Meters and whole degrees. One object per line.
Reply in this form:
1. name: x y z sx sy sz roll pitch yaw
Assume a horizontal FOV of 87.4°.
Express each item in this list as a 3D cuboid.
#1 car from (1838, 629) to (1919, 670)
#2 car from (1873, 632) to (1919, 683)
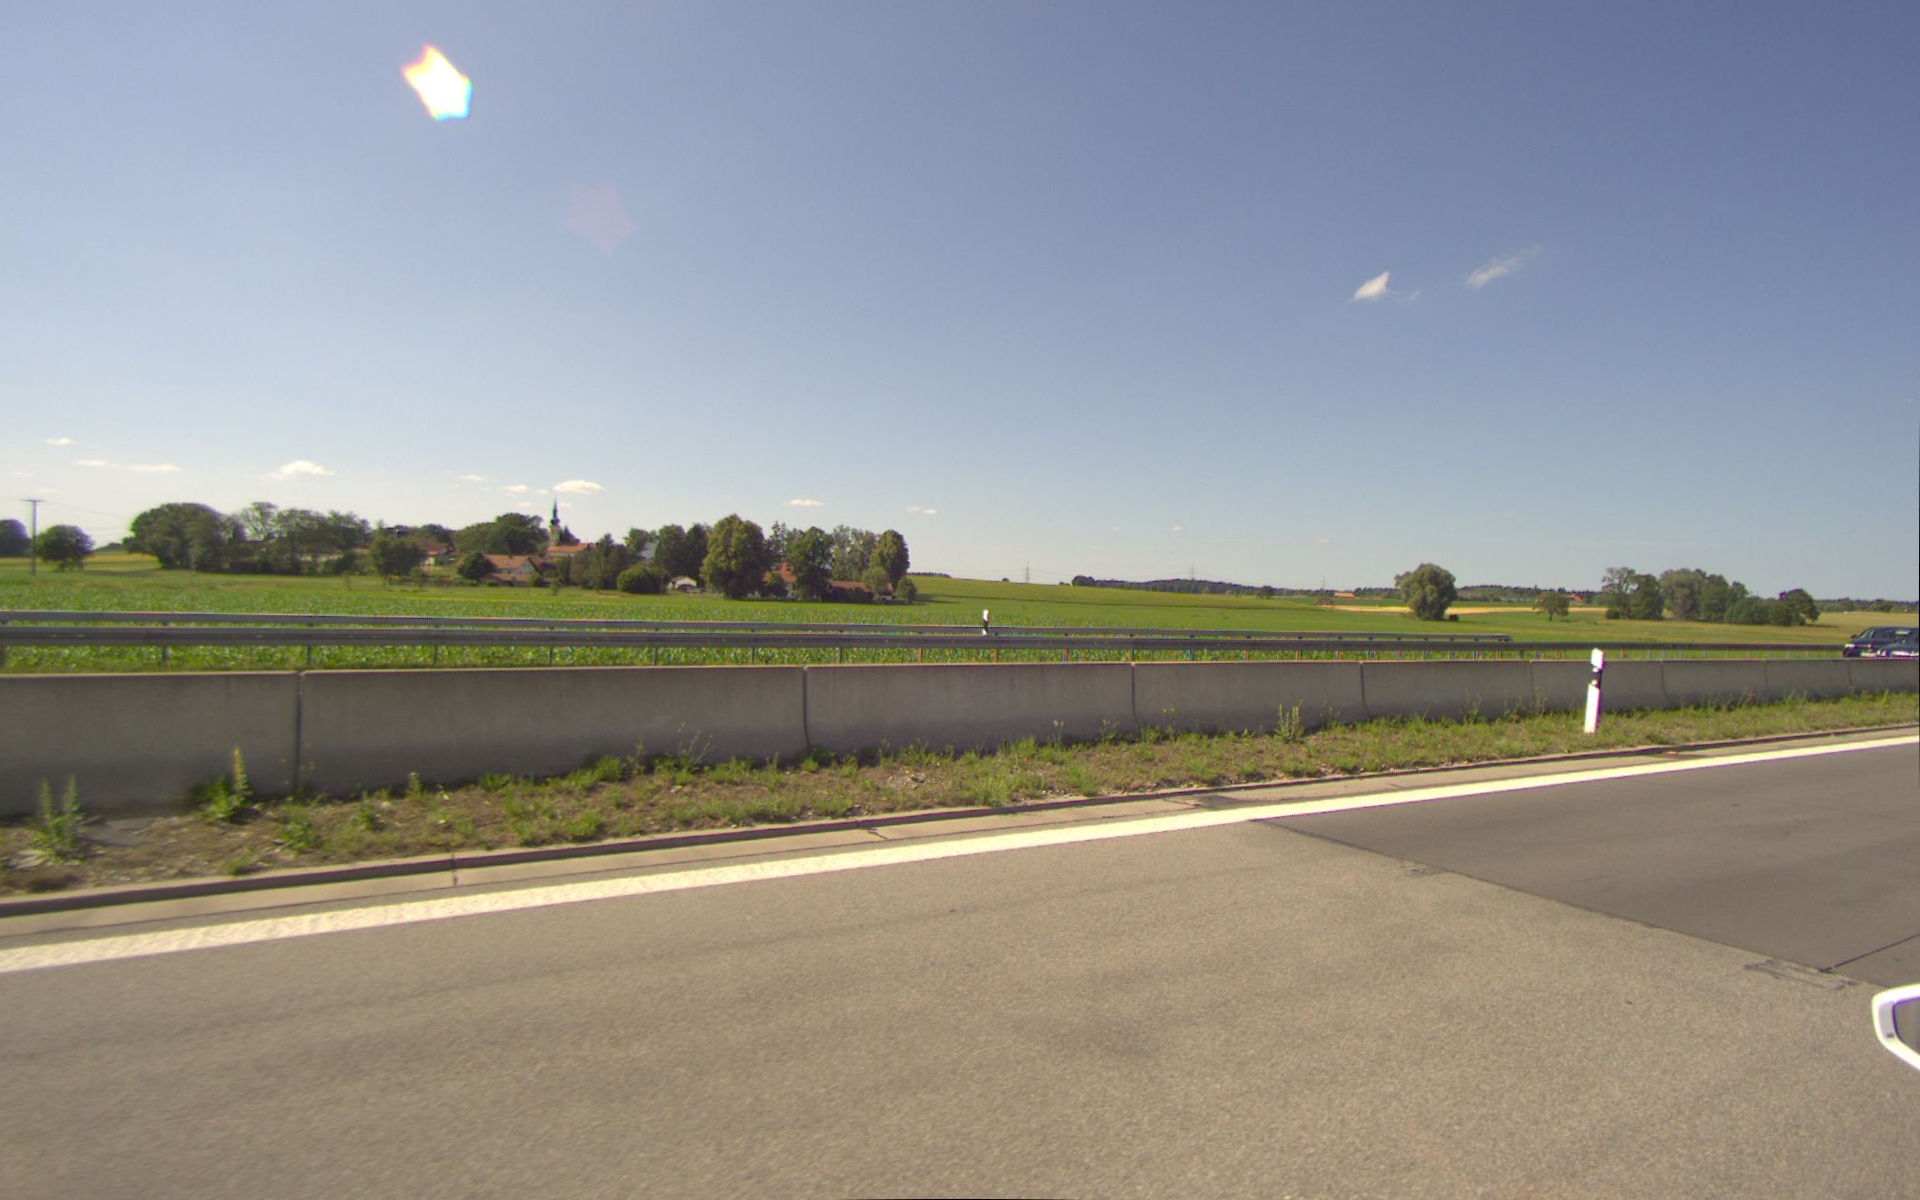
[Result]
1. car: 34.336 1.789 36.942 4.610 1.383 1.813 1 -1 -31
2. car: 28.538 1.642 29.040 5.138 1.383 1.813 1 -1 -31
